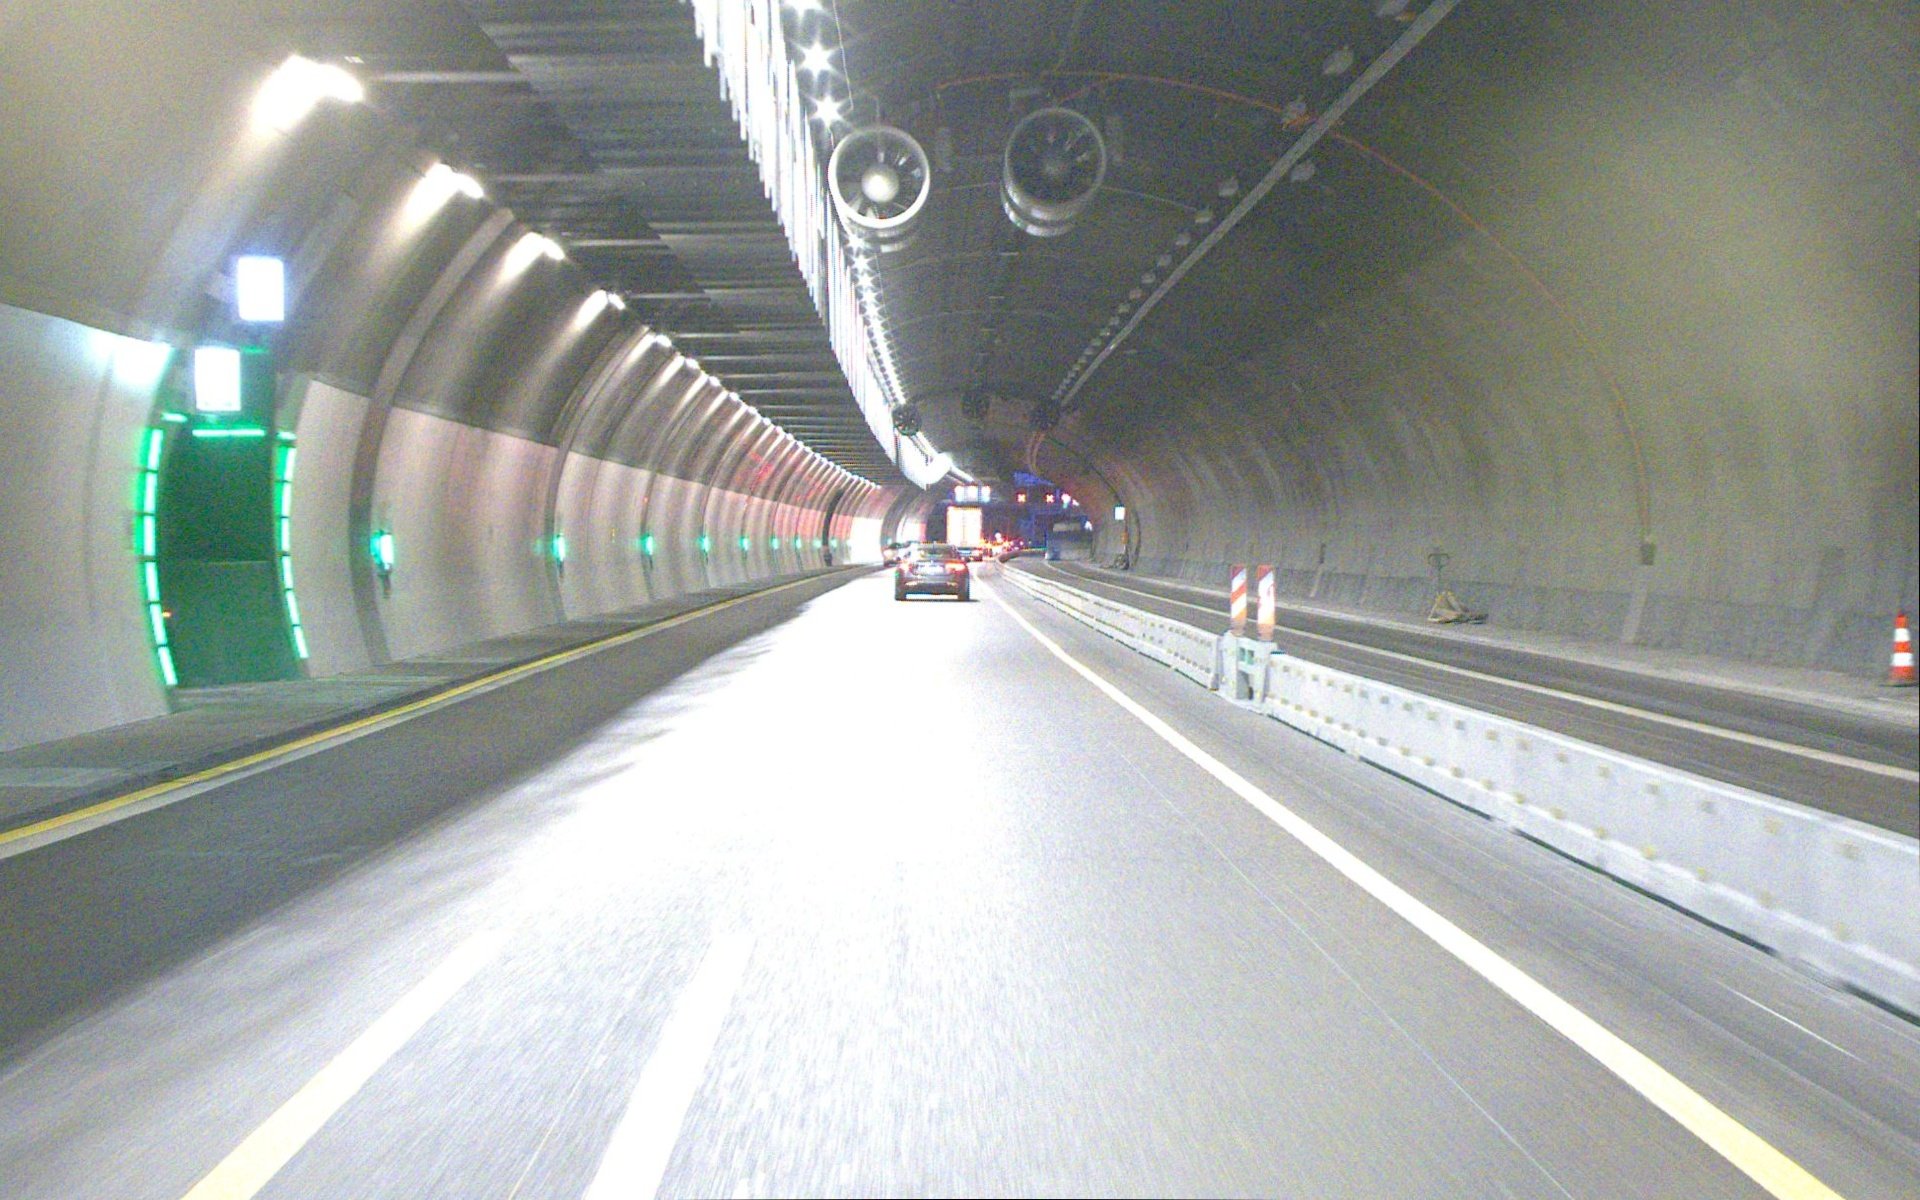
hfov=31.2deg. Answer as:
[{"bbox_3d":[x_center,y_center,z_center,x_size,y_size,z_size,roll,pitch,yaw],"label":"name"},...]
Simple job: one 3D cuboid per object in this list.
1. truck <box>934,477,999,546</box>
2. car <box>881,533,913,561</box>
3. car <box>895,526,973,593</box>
[{"bbox_3d":[0.537,-6.682,261.541,4.546,4.970,9.599,1,1,2],"label":"truck"},{"bbox_3d":[-3.702,-3.094,200.720,1.827,1.601,4.000,1,1,-1],"label":"car"},{"bbox_3d":[-0.688,-1.019,86.920,1.887,1.601,4.000,1,1,-1],"label":"car"}]
